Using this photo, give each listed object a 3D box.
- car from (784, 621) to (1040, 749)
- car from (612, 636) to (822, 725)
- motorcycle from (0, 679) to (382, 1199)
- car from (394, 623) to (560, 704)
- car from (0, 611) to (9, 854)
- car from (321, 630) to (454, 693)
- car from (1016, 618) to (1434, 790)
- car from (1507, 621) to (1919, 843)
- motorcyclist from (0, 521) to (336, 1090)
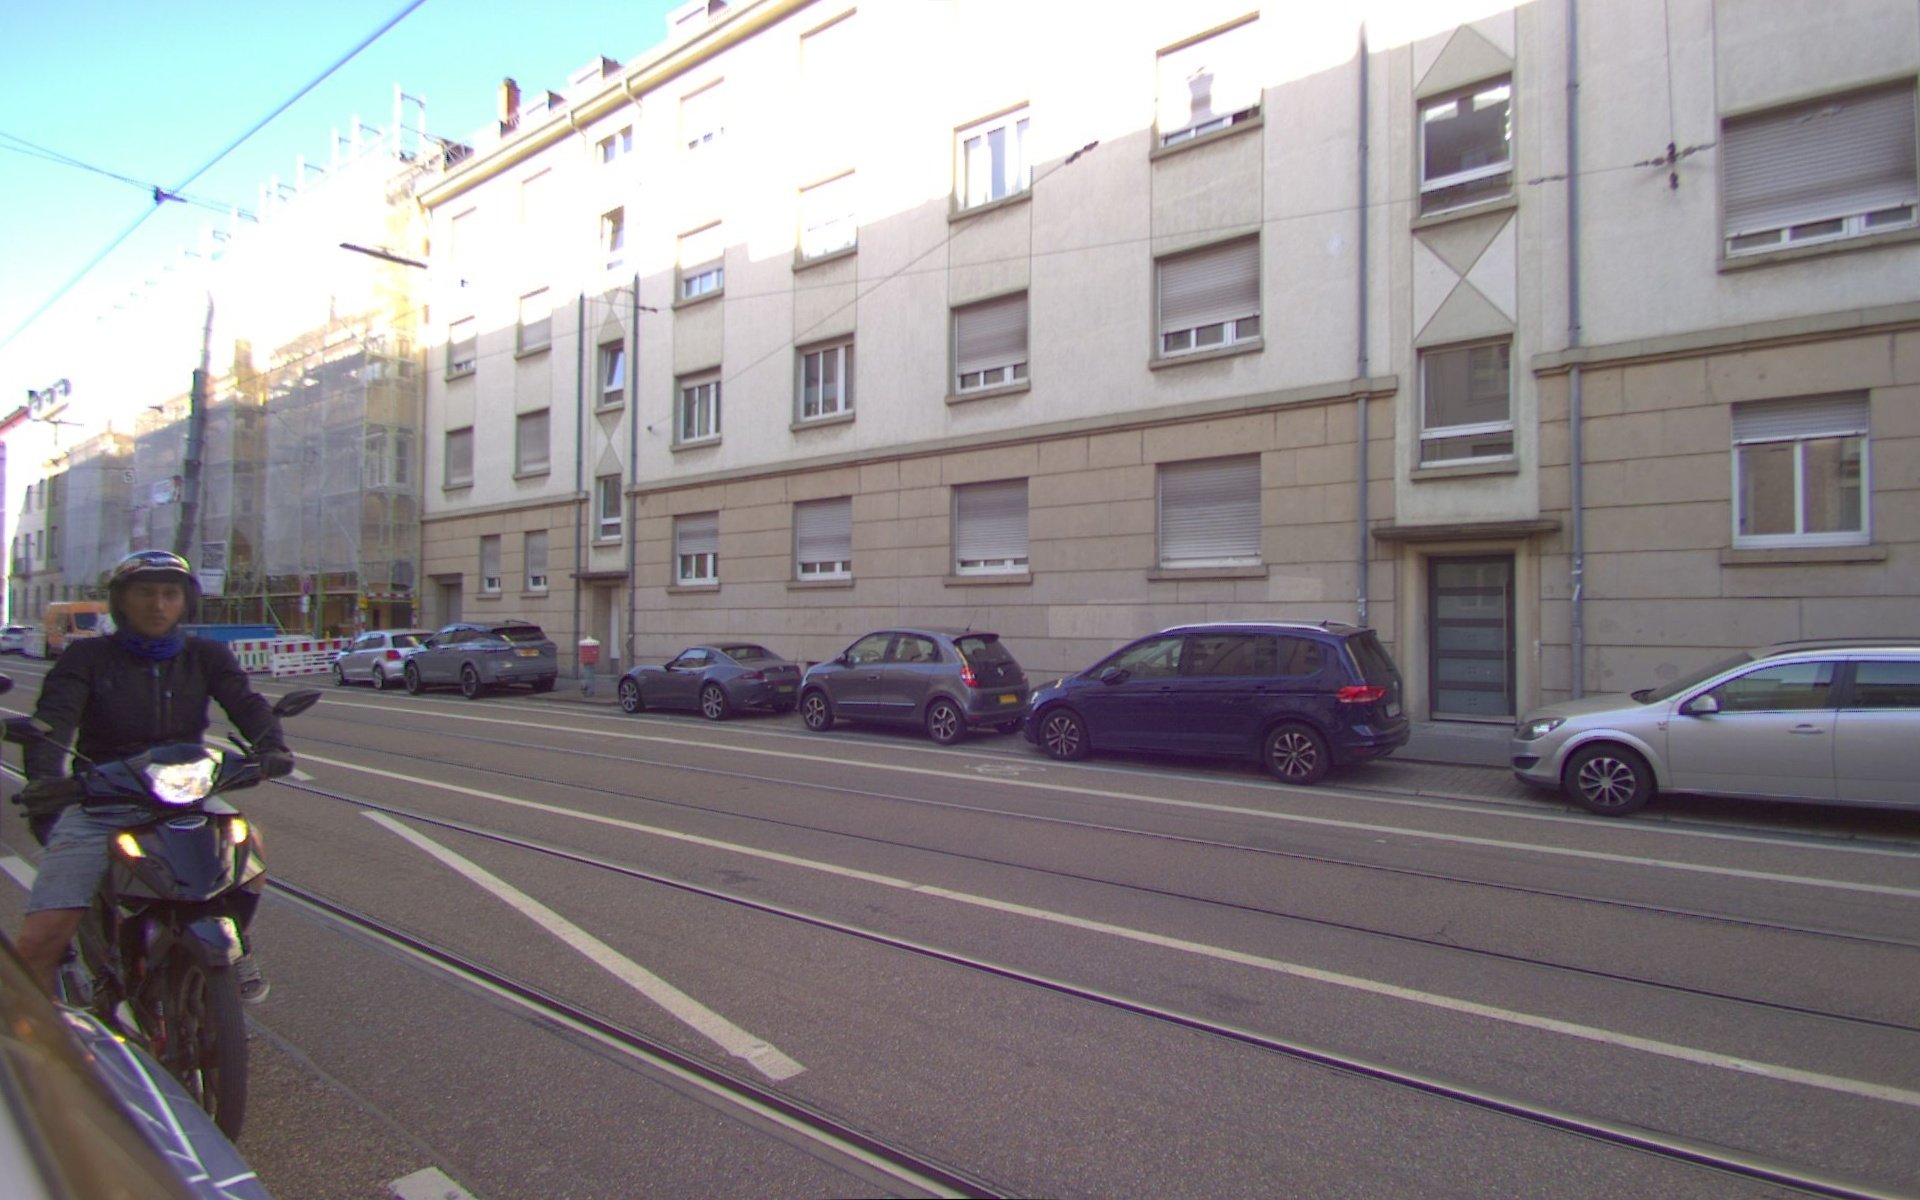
[{"bbox_3d":[-0.747,1.120,14.682,3.493,1.584,1.650,-1,0,38],"label":"car"},{"bbox_3d":[-4.240,1.319,17.531,3.483,1.286,1.730,-1,0,37],"label":"car"},{"bbox_3d":[-2.412,0.913,3.061,1.980,1.228,0.532,-1,0,41],"label":"motorcycle"},{"bbox_3d":[-10.852,1.347,22.644,4.108,1.603,1.691,-1,0,38],"label":"car"},{"bbox_3d":[-8.024,0.841,6.980,3.997,1.515,1.670,-2,-3,40],"label":"car"},{"bbox_3d":[-14.448,1.497,25.475,3.639,1.402,1.617,-1,0,37],"label":"car"},{"bbox_3d":[2.954,1.030,11.705,4.285,1.597,1.887,-1,0,37],"label":"car"},{"bbox_3d":[7.226,0.994,8.525,4.358,1.571,1.975,-1,0,38],"label":"car"},{"bbox_3d":[-2.545,0.545,3.177,0.598,1.516,0.851,-1,0,41],"label":"motorcyclist"}]
